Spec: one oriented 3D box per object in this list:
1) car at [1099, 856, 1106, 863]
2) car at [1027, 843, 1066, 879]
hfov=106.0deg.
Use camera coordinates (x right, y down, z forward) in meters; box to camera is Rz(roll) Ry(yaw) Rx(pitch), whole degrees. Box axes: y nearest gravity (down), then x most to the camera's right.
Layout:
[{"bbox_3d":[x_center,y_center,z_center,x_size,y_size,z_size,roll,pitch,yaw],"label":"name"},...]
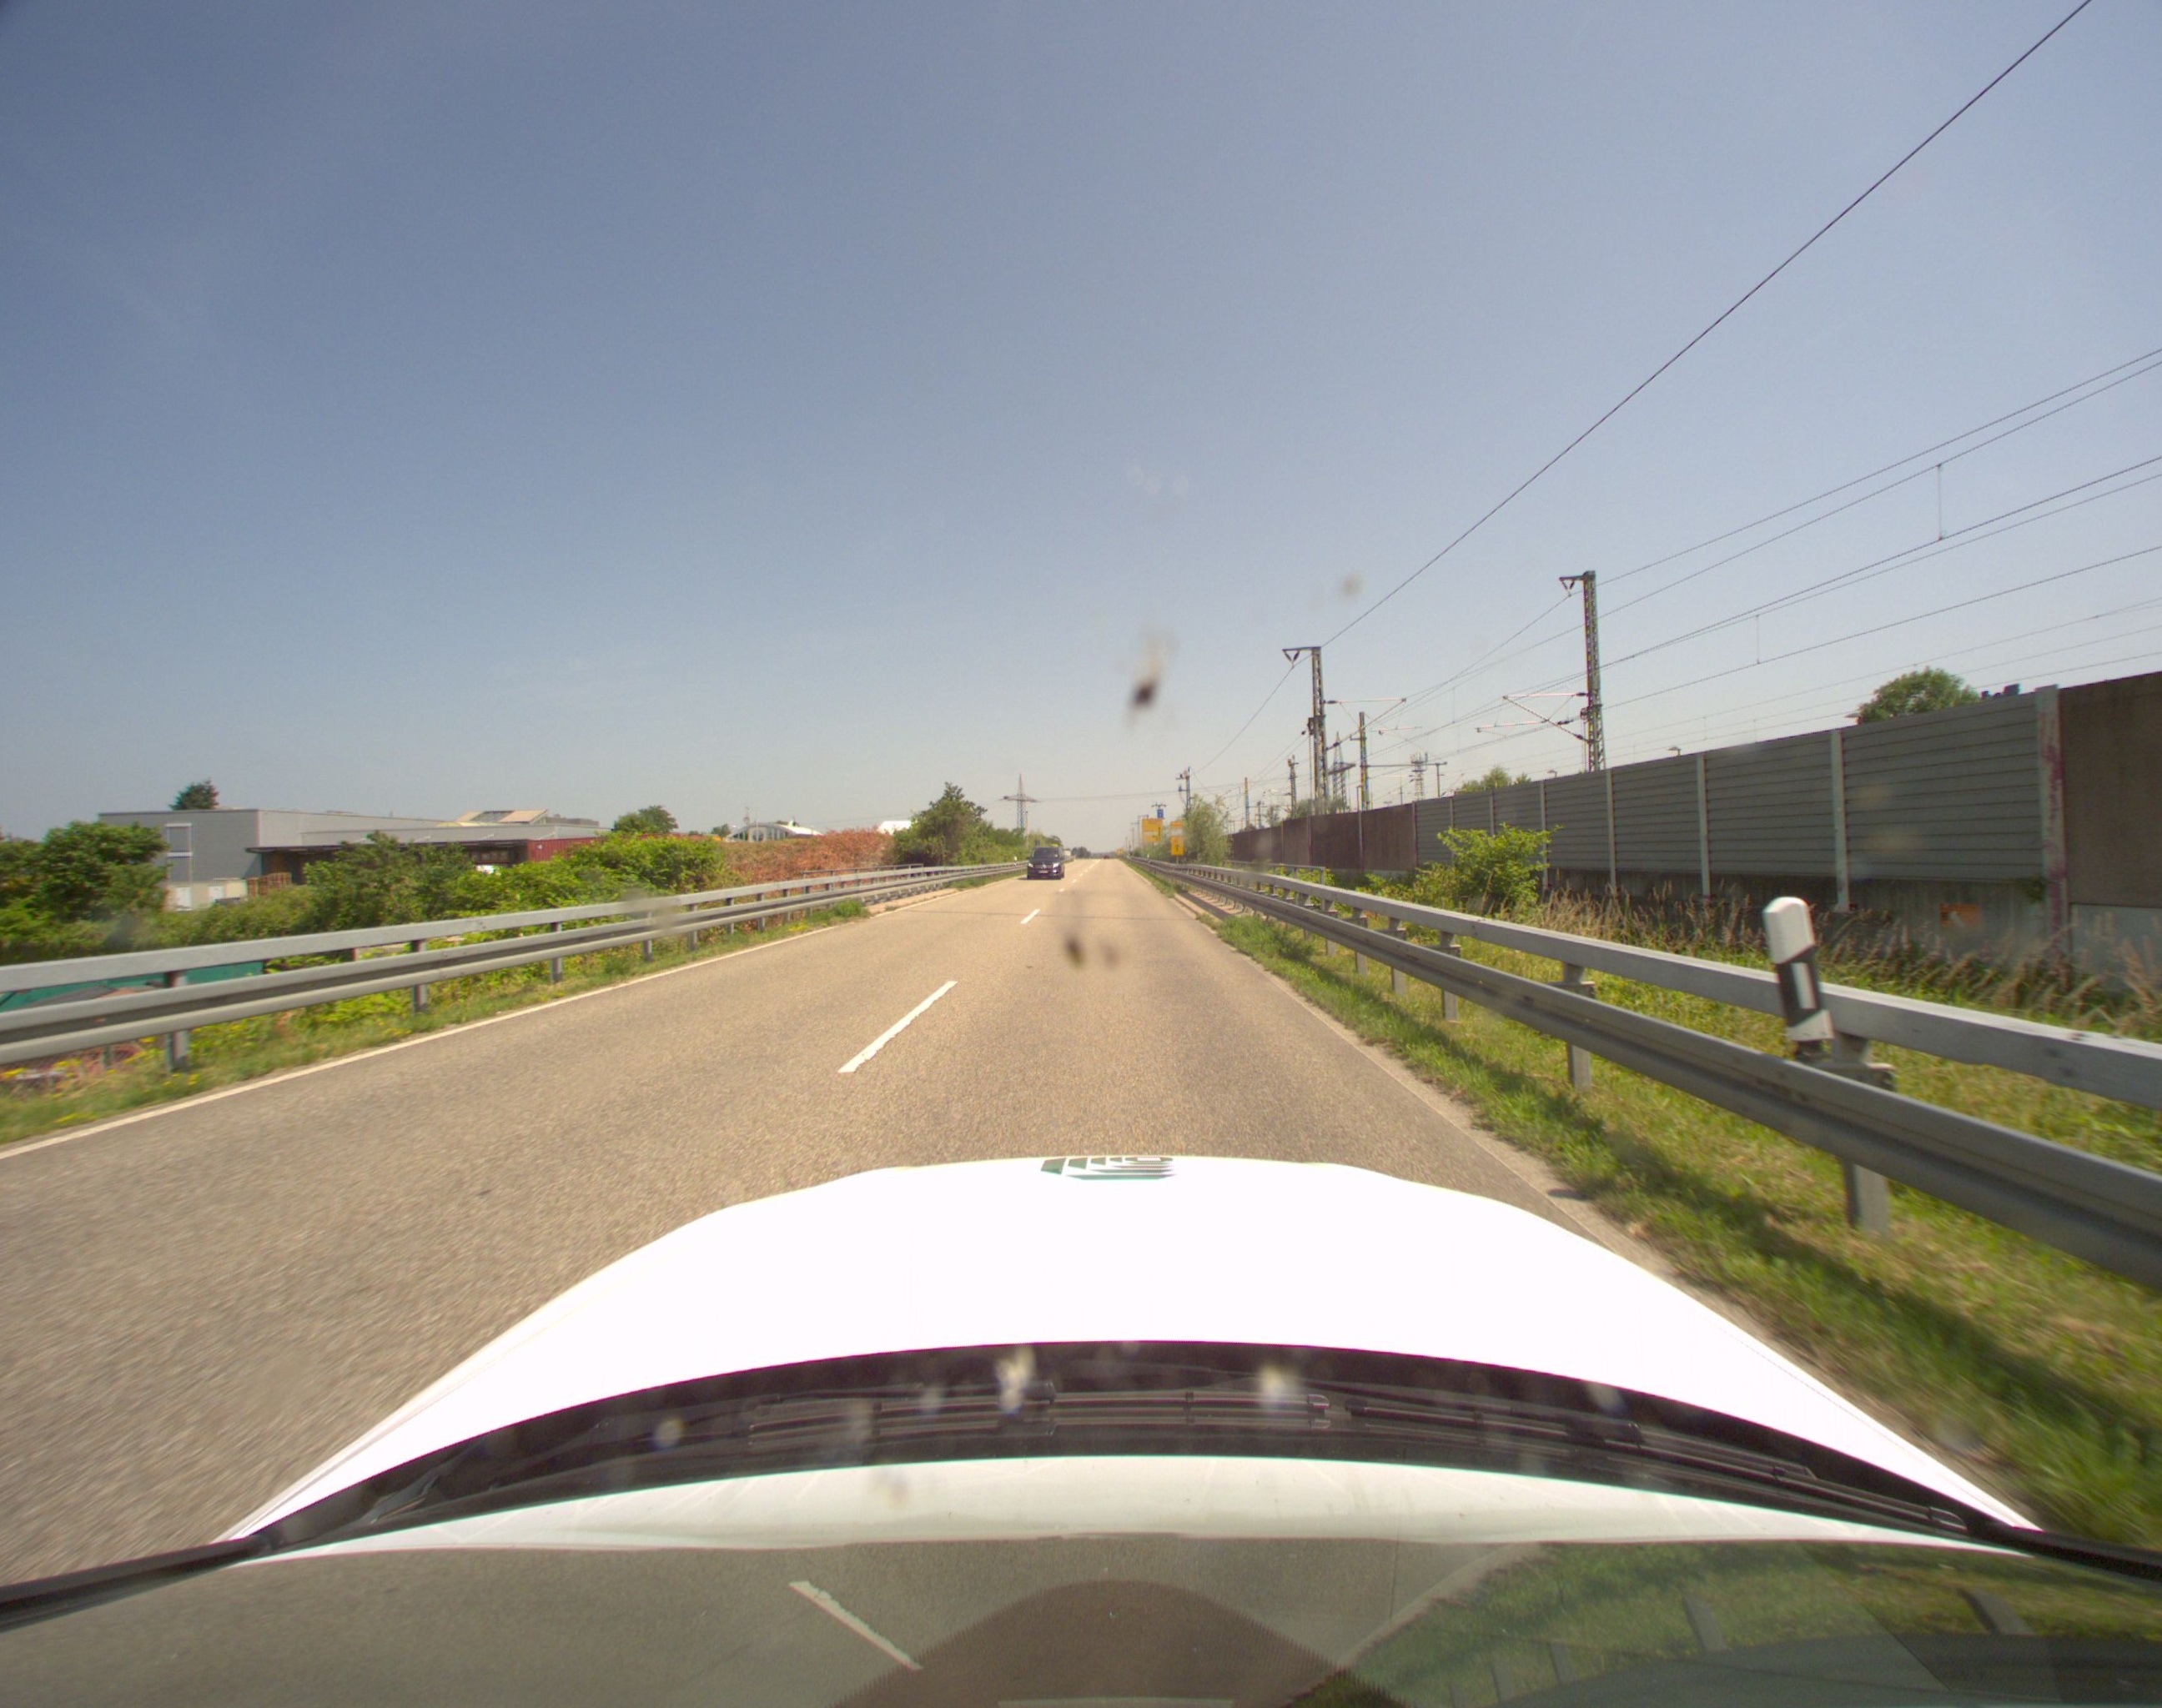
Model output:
[{"bbox_3d":[6.890,1.700,256.573,1.988,2.013,3.997,-1,0,-2],"label":"car"},{"bbox_3d":[-1.963,0.376,47.444,1.886,2.013,5.371,0,0,1],"label":"car"}]
